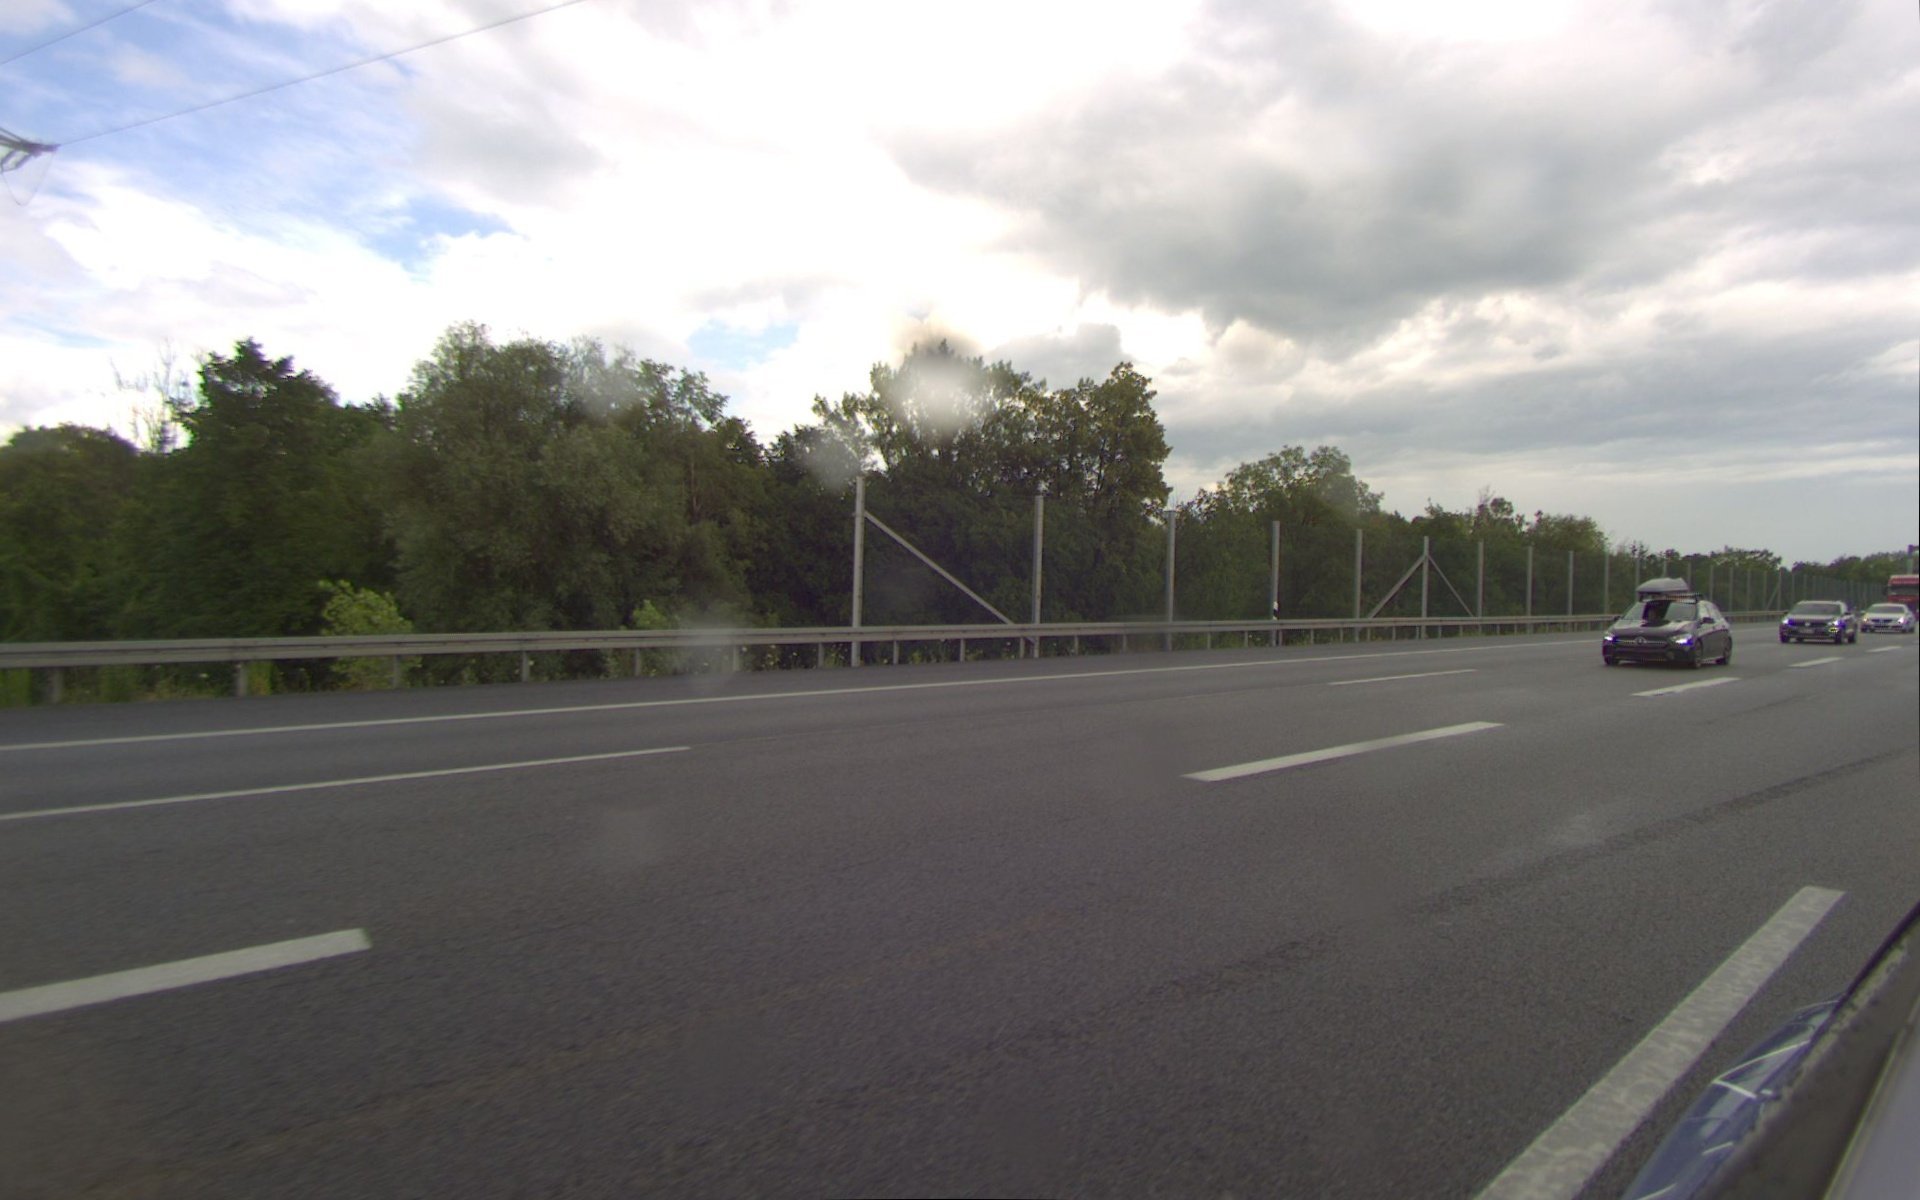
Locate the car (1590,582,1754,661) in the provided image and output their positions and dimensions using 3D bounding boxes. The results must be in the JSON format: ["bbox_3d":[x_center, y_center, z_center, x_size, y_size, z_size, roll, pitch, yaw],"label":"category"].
[{"bbox_3d":[16.654,0.466,23.567,4.979,1.626,2.108,1,0,-43],"label":"car"}]

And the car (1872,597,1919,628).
[{"bbox_3d":[47.363,0.612,50.763,4.172,1.465,1.897,0,1,-41],"label":"car"}]

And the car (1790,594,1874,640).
[{"bbox_3d":[31.950,0.583,37.059,3.655,1.582,1.796,0,0,-40],"label":"car"}]

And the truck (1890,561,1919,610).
[{"bbox_3d":[86.703,-1.159,90.655,15.358,4.054,3.159,1,0,-40],"label":"truck"}]
